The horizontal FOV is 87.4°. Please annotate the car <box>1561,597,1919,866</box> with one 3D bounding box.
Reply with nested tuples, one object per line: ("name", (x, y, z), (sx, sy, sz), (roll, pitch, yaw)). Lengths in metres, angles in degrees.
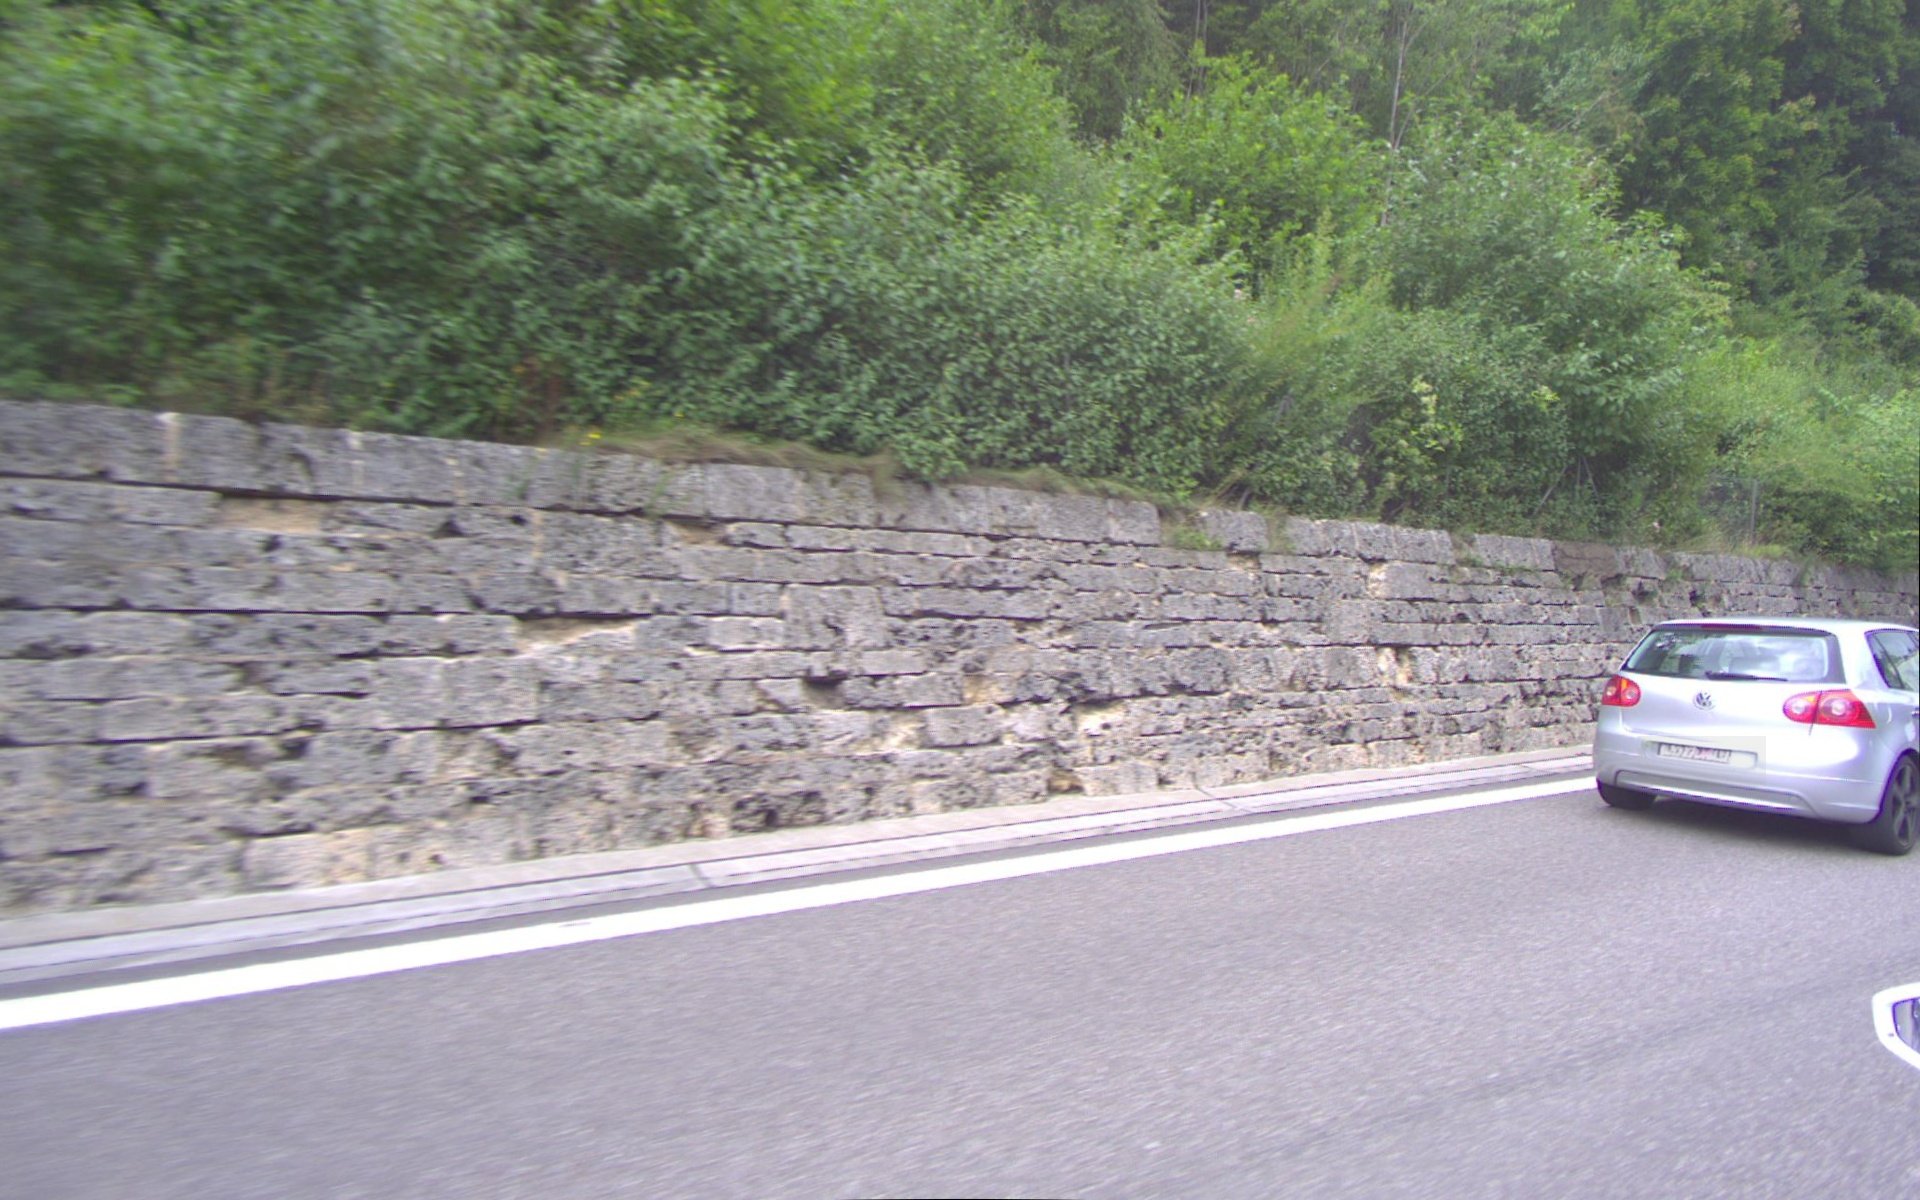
("car", (6.665, 0.855, 7.643), (4.531, 1.535, 1.673), (3, -3, -31))
